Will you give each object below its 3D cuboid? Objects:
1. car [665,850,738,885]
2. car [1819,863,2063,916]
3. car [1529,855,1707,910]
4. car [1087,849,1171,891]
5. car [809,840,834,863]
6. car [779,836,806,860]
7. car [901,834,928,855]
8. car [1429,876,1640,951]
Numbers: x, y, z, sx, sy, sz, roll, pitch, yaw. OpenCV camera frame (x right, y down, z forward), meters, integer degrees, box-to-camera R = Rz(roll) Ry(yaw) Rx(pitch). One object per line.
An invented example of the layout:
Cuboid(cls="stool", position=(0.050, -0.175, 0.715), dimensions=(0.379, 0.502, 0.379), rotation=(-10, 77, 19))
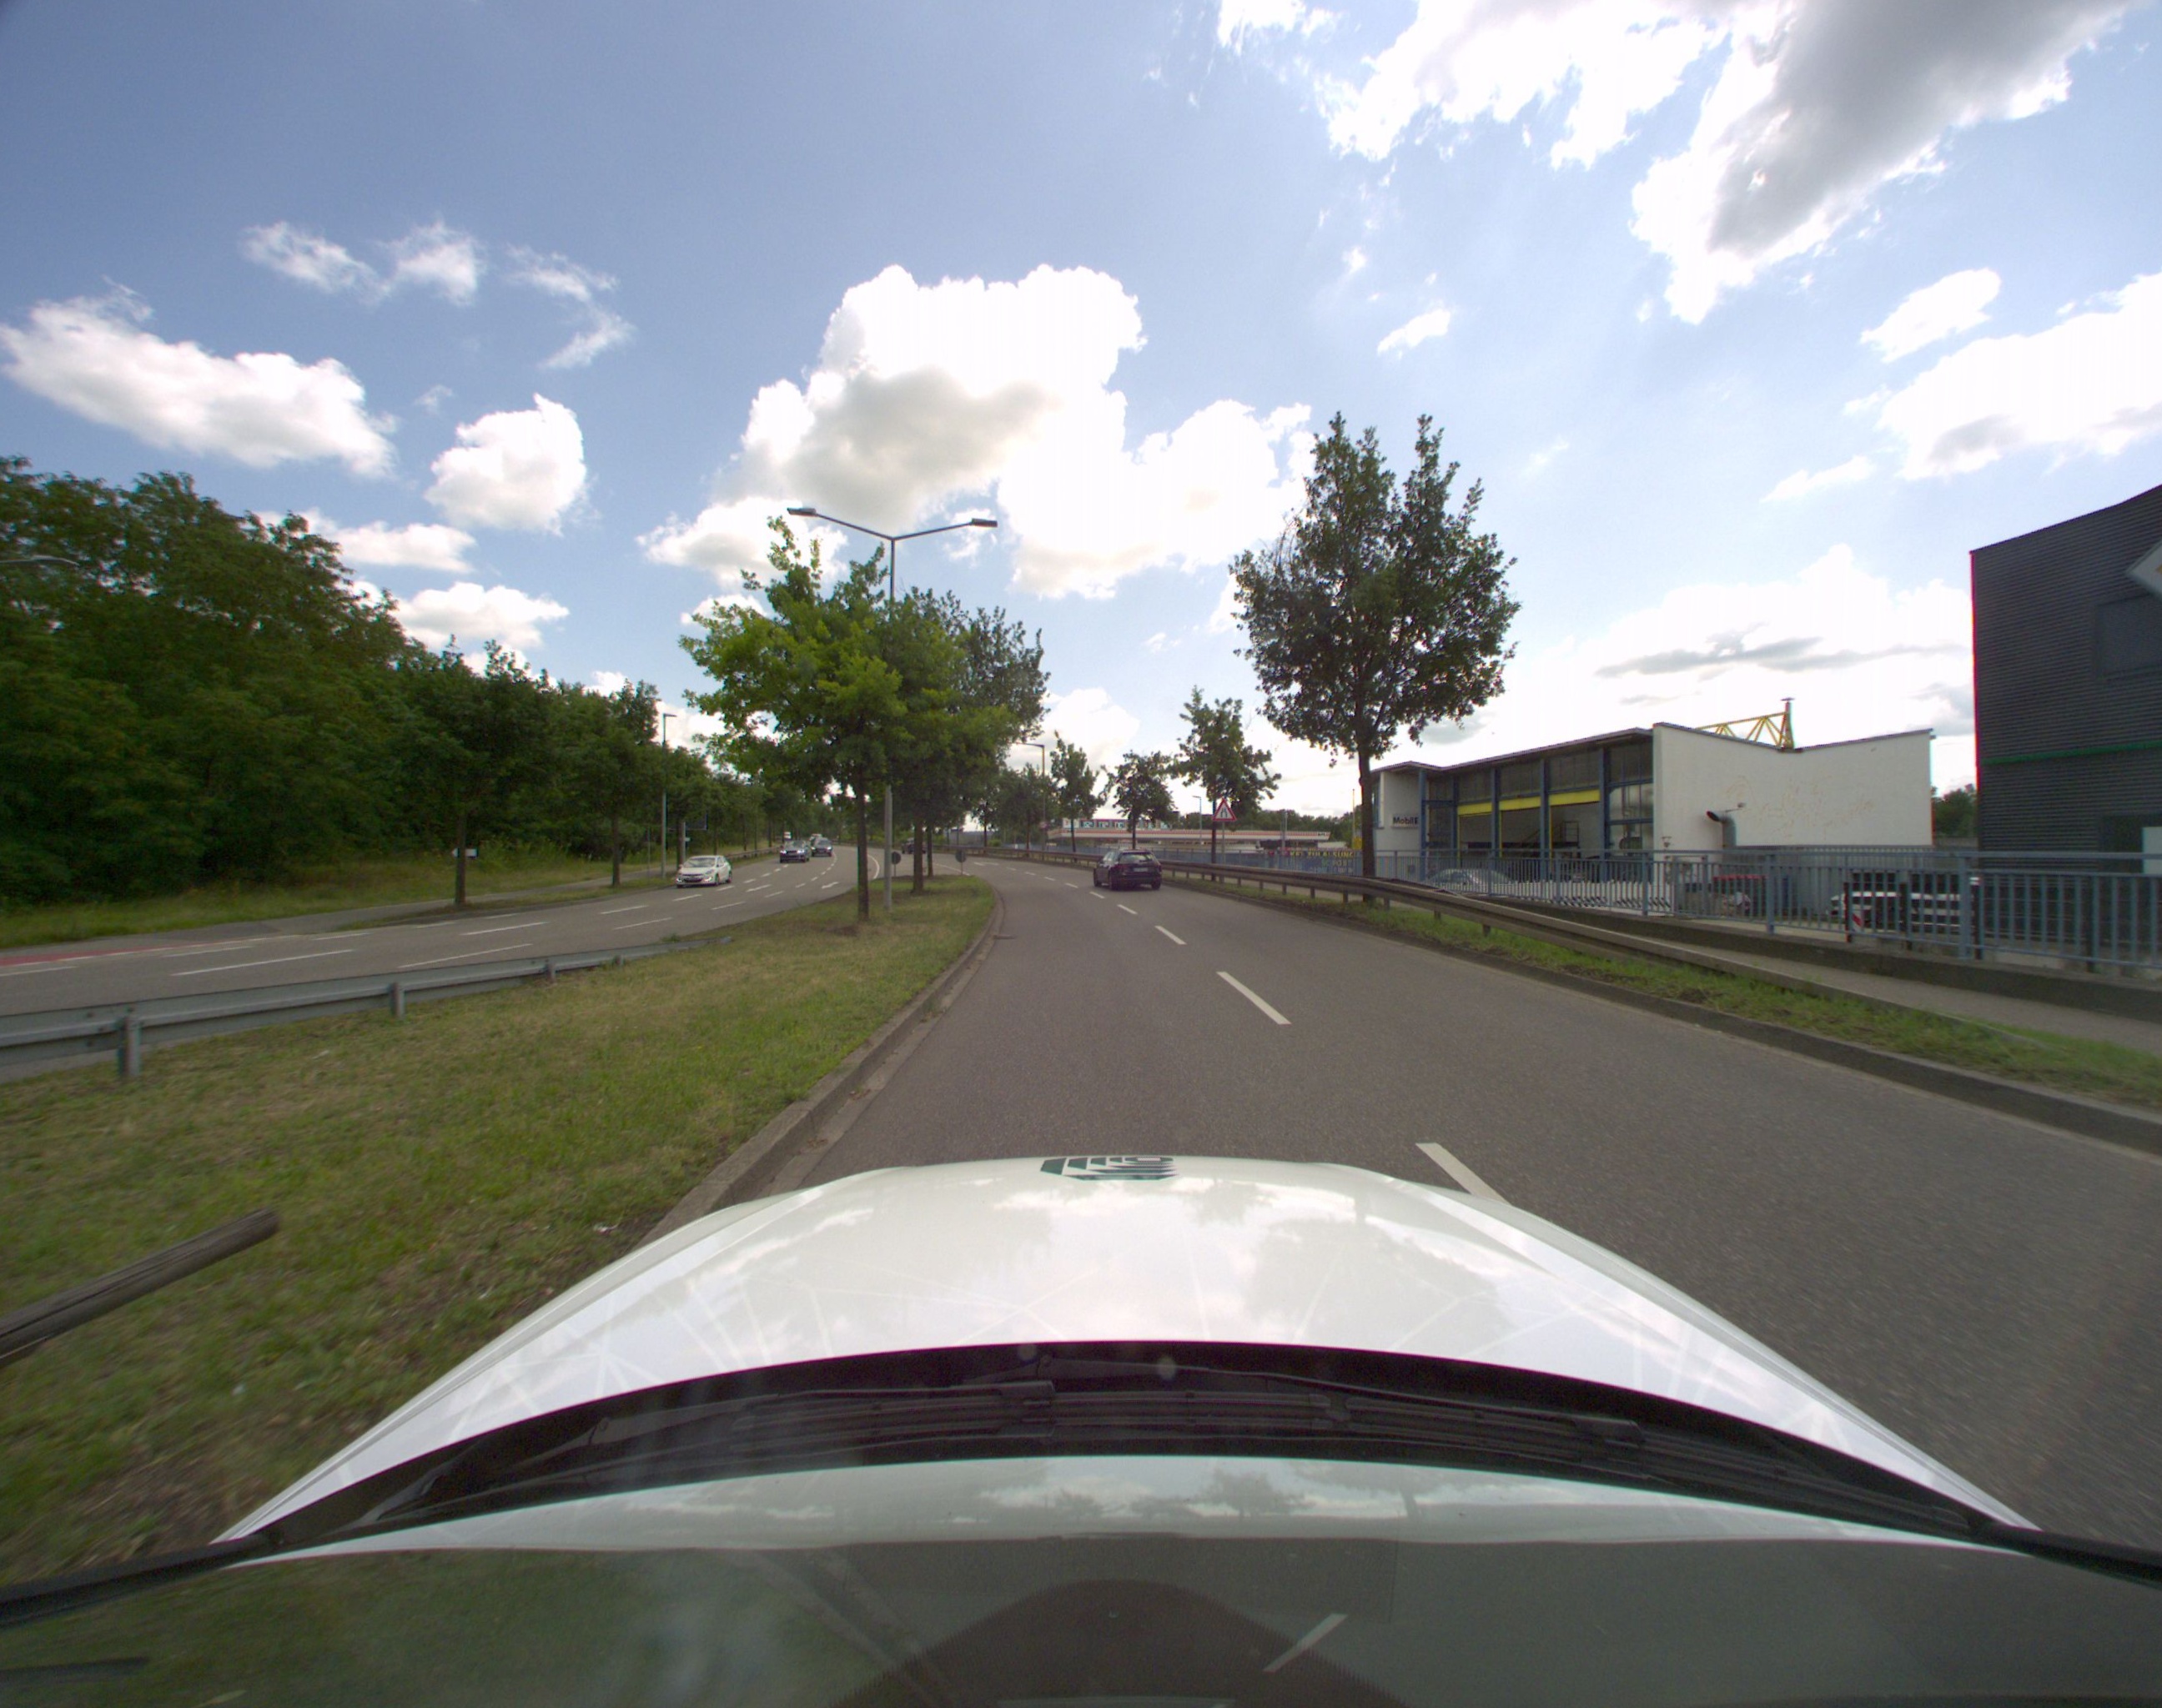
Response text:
Cuboid(cls="car", position=(-18.397, 0.633, 39.717), dimensions=(1.993, 1.532, 4.319), rotation=(-2, 0, -8))
Cuboid(cls="car", position=(23.693, 0.921, 22.714), dimensions=(4.322, 1.285, 2.013), rotation=(0, 1, 32))
Cuboid(cls="car", position=(20.458, 1.070, 31.115), dimensions=(5.804, 2.014, 2.224), rotation=(0, -1, -11))
Cuboid(cls="car", position=(1.649, 0.538, 29.736), dimensions=(1.994, 1.390, 4.559), rotation=(1, 0, -11))
Cuboid(cls="car", position=(-25.345, -0.287, 79.741), dimensions=(1.997, 2.013, 4.795), rotation=(0, 2, -14))
Cuboid(cls="car", position=(-23.594, -0.483, 66.587), dimensions=(2.000, 1.861, 4.683), rotation=(0, 0, -20))
Cuboid(cls="car", position=(-17.692, -0.996, 86.318), dimensions=(2.001, 2.037, 4.677), rotation=(1, -1, -22))
Cuboid(cls="car", position=(10.385, 1.286, 19.172), dimensions=(1.991, 1.359, 4.739), rotation=(0, 1, -6))
